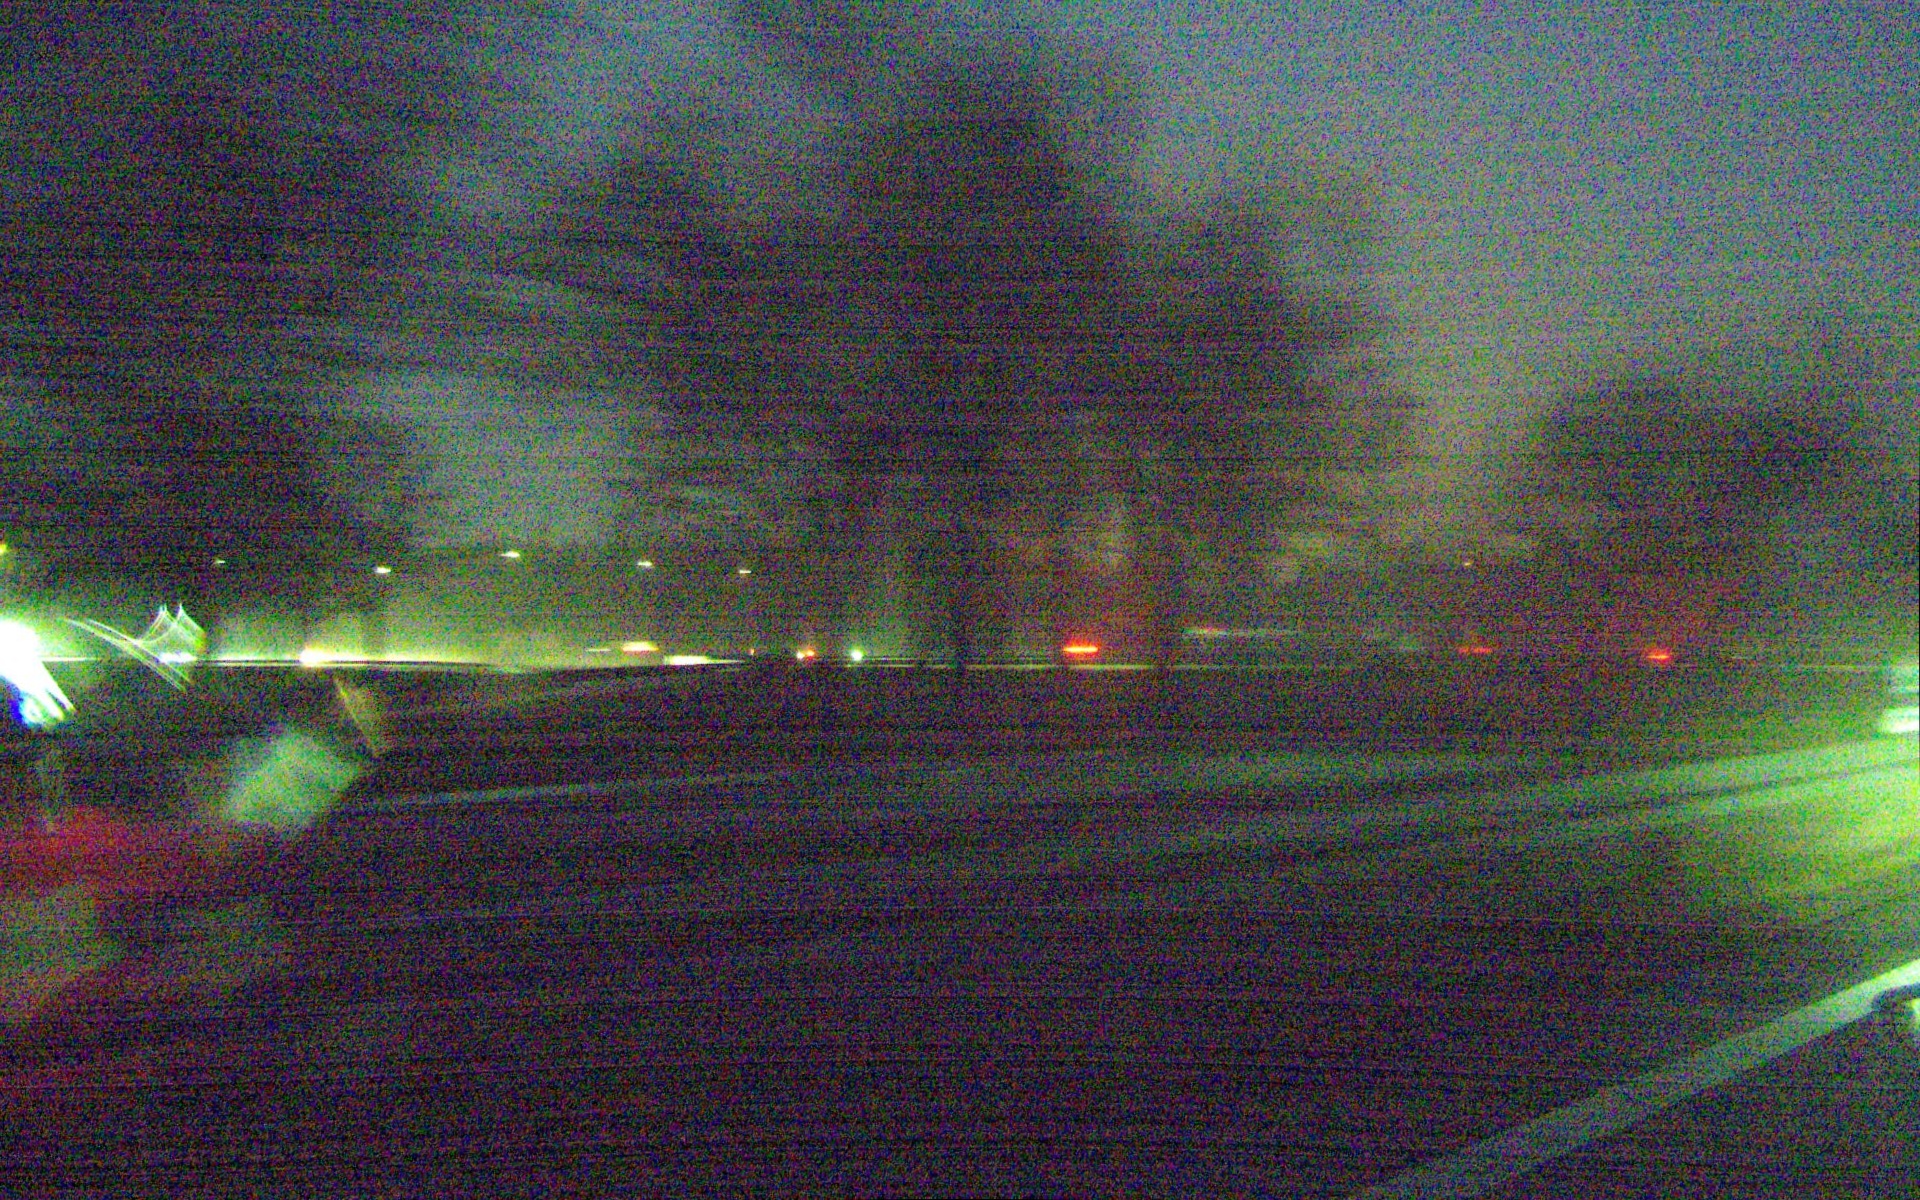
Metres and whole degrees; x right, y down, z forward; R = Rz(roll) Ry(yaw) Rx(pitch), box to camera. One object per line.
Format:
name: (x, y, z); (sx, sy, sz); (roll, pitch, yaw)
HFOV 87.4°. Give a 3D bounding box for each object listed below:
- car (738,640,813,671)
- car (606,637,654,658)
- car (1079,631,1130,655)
car: (-13.150, 3.929, 71.506); (4.918, 2.040, 2.000); (-1, -1, 19)
car: (-33.683, 4.845, 102.437); (4.382, 2.040, 2.000); (-1, -1, 20)
car: (12.295, 3.644, 85.446); (3.921, 2.040, 1.972); (-1, -1, 20)
